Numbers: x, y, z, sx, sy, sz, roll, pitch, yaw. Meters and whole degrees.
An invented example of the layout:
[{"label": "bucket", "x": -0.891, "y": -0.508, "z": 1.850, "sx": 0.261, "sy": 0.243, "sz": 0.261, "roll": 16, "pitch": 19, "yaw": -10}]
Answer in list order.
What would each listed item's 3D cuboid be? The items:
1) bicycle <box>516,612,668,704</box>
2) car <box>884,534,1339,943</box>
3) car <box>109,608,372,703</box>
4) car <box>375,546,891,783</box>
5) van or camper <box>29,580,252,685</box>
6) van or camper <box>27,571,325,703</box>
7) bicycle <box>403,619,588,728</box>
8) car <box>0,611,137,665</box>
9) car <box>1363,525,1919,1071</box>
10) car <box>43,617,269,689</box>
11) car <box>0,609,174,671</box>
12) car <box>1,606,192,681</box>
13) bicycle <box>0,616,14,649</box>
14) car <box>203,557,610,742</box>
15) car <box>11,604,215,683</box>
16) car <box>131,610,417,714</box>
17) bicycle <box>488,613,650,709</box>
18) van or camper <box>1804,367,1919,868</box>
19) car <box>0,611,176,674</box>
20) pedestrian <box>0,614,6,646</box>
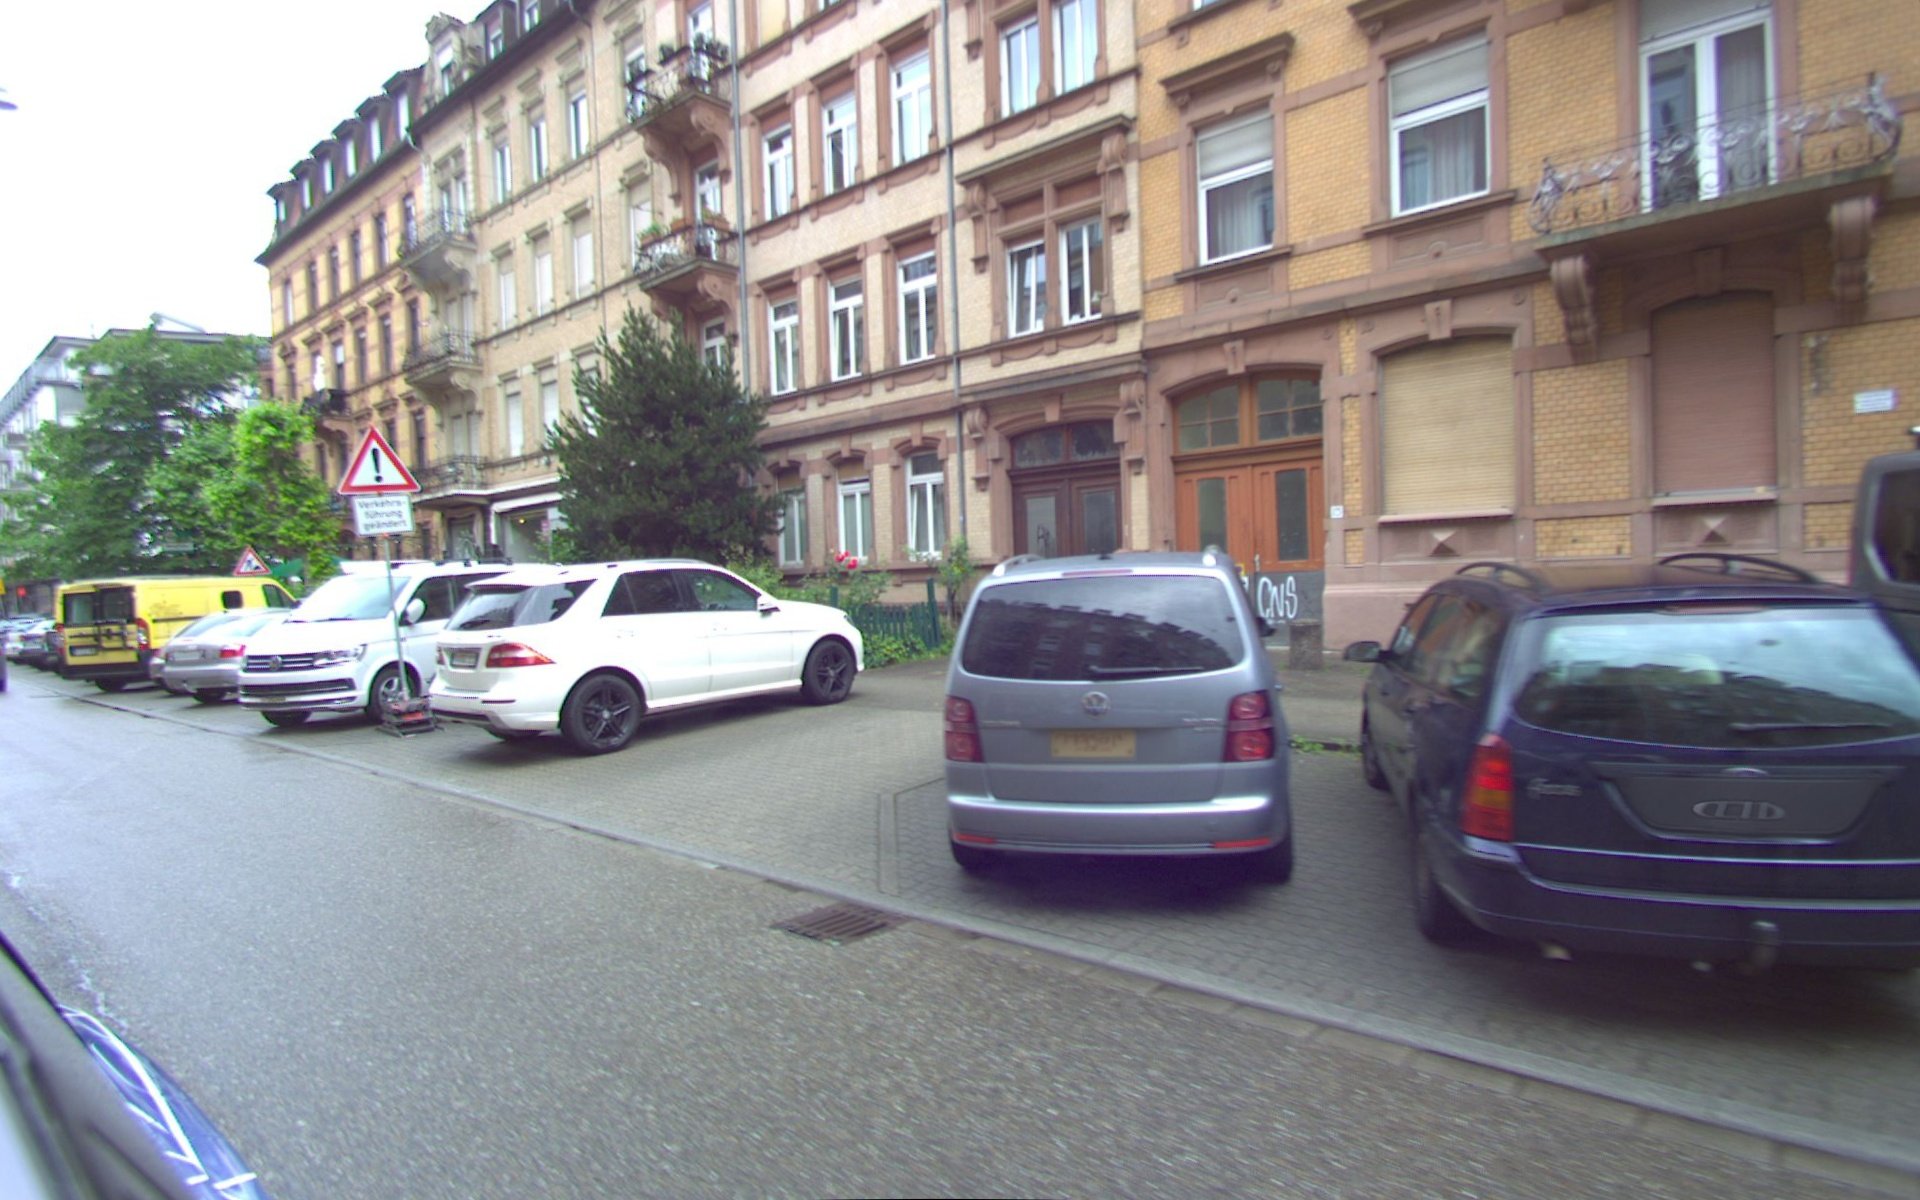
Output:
[{"label": "bicycle", "x": -5.118, "y": 0.802, "z": 14.069, "sx": 2.022, "sy": 1.183, "sz": 0.406, "roll": -2, "pitch": 1, "yaw": 11}, {"label": "car", "x": 1.130, "y": 0.467, "z": 6.415, "sx": 1.827, "sy": 1.642, "sz": 4.426, "roll": -3, "pitch": 3, "yaw": 14}, {"label": "car", "x": -13.759, "y": 0.997, "z": 19.668, "sx": 1.942, "sy": 1.506, "sz": 3.907, "roll": -2, "pitch": 1, "yaw": 10}, {"label": "car", "x": -3.264, "y": 0.466, "z": 10.856, "sx": 2.543, "sy": 1.798, "sz": 4.534, "roll": -2, "pitch": 3, "yaw": 40}, {"label": "van or camper", "x": -20.566, "y": 0.733, "z": 25.656, "sx": 1.915, "sy": 2.255, "sz": 4.075, "roll": -1, "pitch": 3, "yaw": 8}, {"label": "van or camper", "x": -16.272, "y": 0.650, "z": 21.427, "sx": 2.160, "sy": 2.284, "sz": 4.716, "roll": -4, "pitch": 2, "yaw": 8}, {"label": "bicycle", "x": -5.507, "y": 0.870, "z": 12.021, "sx": 2.022, "sy": 1.183, "sz": 0.542, "roll": -2, "pitch": 1, "yaw": 11}, {"label": "car", "x": -32.688, "y": 1.332, "z": 36.622, "sx": 1.974, "sy": 1.575, "sz": 4.453, "roll": -1, "pitch": 3, "yaw": 4}, {"label": "car", "x": 3.108, "y": 0.468, "z": 4.958, "sx": 1.740, "sy": 1.515, "sz": 4.332, "roll": -3, "pitch": 2, "yaw": 18}, {"label": "car", "x": -18.593, "y": 1.175, "z": 23.661, "sx": 1.806, "sy": 1.506, "sz": 3.989, "roll": -2, "pitch": -1, "yaw": 9}, {"label": "car", "x": -29.027, "y": 1.274, "z": 33.491, "sx": 1.976, "sy": 1.574, "sz": 4.717, "roll": -4, "pitch": 2, "yaw": 7}, {"label": "car", "x": -24.992, "y": 1.200, "z": 29.517, "sx": 1.778, "sy": 1.674, "sz": 4.134, "roll": -2, "pitch": 3, "yaw": 4}, {"label": "bicycle", "x": -35.284, "y": 1.207, "z": 36.688, "sx": 1.665, "sy": 1.152, "sz": 0.585, "roll": -2, "pitch": 2, "yaw": 13}, {"label": "car", "x": -7.341, "y": 0.503, "z": 14.248, "sx": 1.853, "sy": 2.094, "sz": 5.227, "roll": -1, "pitch": 1, "yaw": 16}, {"label": "car", "x": -22.686, "y": 1.094, "z": 27.354, "sx": 1.778, "sy": 1.674, "sz": 4.134, "roll": -2, "pitch": 3, "yaw": 4}, {"label": "car", "x": -11.695, "y": 0.982, "z": 17.620, "sx": 1.766, "sy": 1.446, "sz": 3.985, "roll": -2, "pitch": 1, "yaw": 12}, {"label": "bicycle", "x": -5.262, "y": 0.817, "z": 13.644, "sx": 2.022, "sy": 1.183, "sz": 0.542, "roll": -2, "pitch": 1, "yaw": 11}, {"label": "van or camper", "x": 5.244, "y": 0.094, "z": 2.896, "sx": 2.322, "sy": 2.367, "sz": 5.003, "roll": -2, "pitch": 1, "yaw": 14}, {"label": "car", "x": -27.142, "y": 1.270, "z": 31.650, "sx": 1.779, "sy": 1.504, "sz": 4.133, "roll": -2, "pitch": 3, "yaw": 5}, {"label": "pedestrian", "x": -56.371, "y": 1.741, "z": 59.276, "sx": 0.595, "sy": 1.862, "sz": 0.770, "roll": -3, "pitch": 1, "yaw": -41}]
